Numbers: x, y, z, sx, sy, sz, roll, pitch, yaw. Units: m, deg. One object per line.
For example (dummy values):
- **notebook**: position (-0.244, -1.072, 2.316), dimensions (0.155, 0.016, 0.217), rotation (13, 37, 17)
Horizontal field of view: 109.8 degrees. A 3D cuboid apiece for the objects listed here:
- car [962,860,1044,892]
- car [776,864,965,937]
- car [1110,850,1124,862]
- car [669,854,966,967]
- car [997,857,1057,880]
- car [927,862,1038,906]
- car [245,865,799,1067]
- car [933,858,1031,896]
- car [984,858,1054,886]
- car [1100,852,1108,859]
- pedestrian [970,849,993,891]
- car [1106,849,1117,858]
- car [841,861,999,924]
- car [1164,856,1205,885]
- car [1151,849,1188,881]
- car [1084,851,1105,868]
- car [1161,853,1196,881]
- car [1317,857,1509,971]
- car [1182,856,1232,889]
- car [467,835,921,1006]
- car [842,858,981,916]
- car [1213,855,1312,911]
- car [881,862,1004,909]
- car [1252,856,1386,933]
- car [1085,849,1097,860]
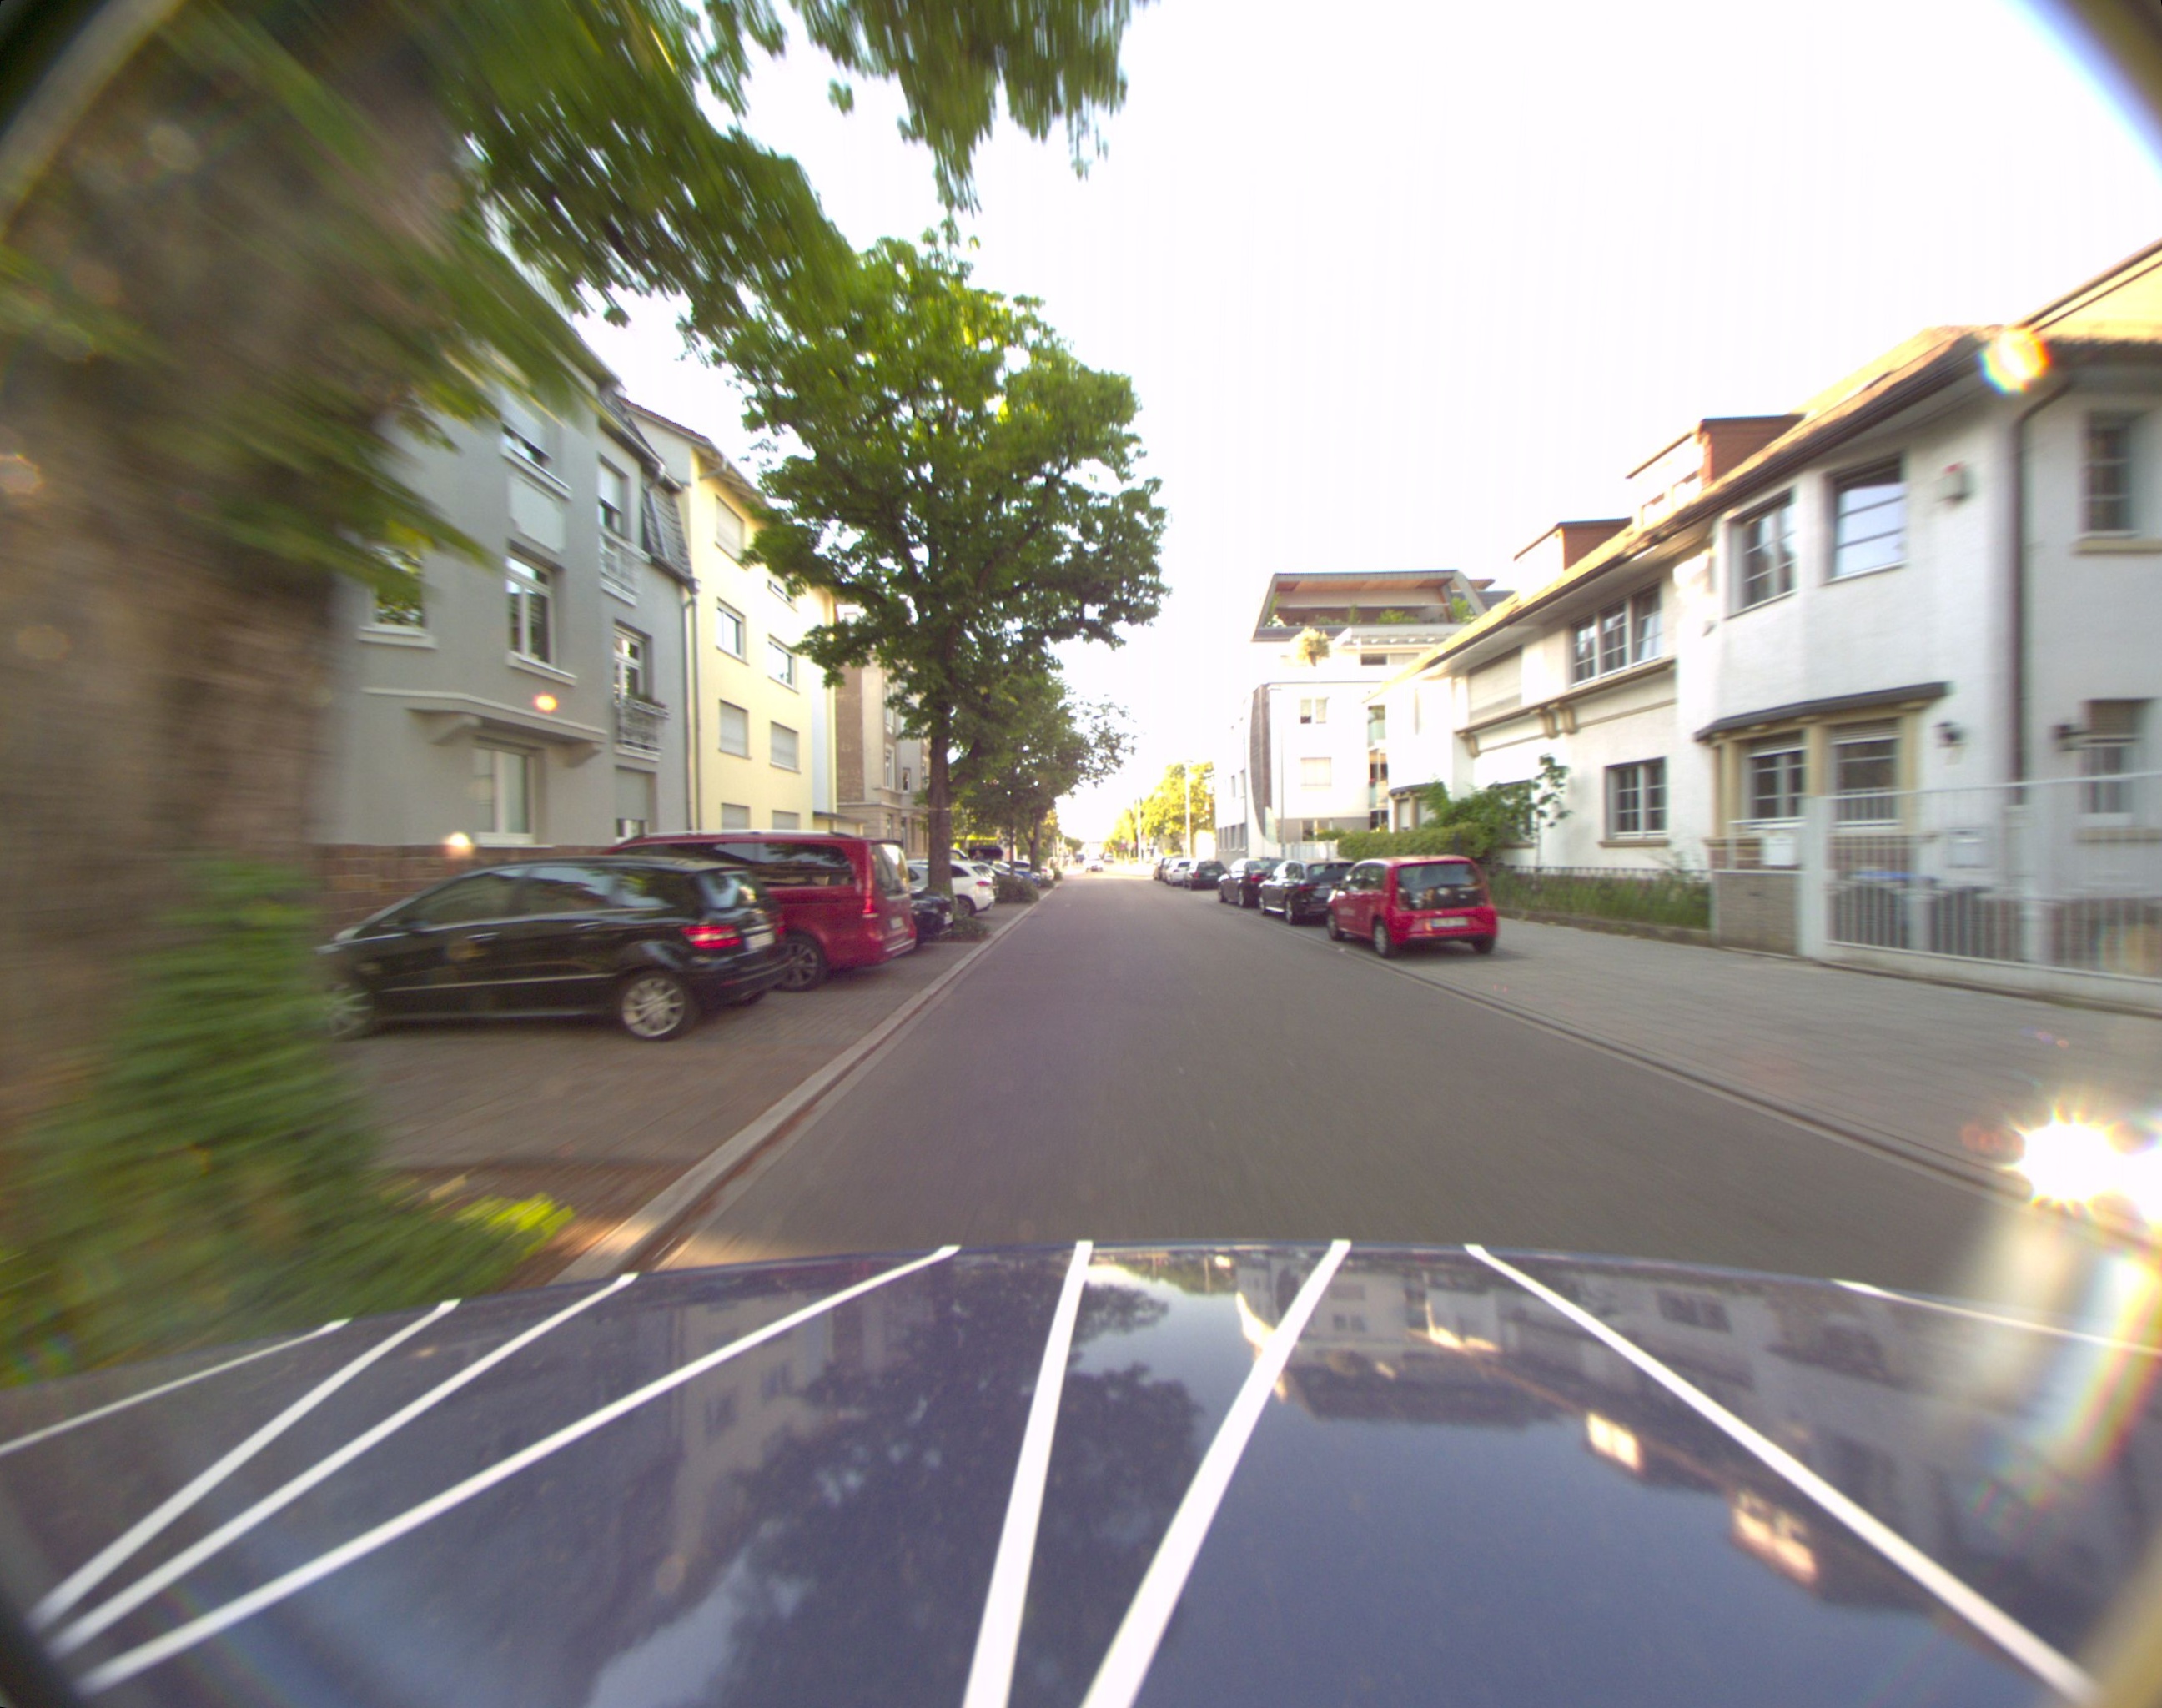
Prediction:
- **car**: position (-3.800, 1.053, 37.520), dimensions (3.825, 1.477, 1.601), rotation (-1, 0, 1)
- **car**: position (-4.550, 0.988, 16.752), dimensions (3.680, 1.453, 1.616), rotation (-1, 0, 1)
- **car**: position (5.493, 0.304, 114.762), dimensions (1.913, 1.679, 4.198), rotation (-3, 0, 1)
- **car**: position (-4.175, 0.874, 12.460), dimensions (4.207, 1.695, 1.792), rotation (-1, 0, 4)
- **car**: position (-3.550, 0.941, 50.443), dimensions (3.825, 1.477, 1.601), rotation (-1, 0, 1)
- **car**: position (-3.449, 1.051, 26.991), dimensions (3.680, 1.434, 1.601), rotation (-1, 0, 1)
- **car**: position (-4.914, 0.938, 7.084), dimensions (3.903, 1.594, 1.687), rotation (-1, 0, 1)
- **car**: position (-4.031, 0.929, 31.335), dimensions (3.825, 1.477, 1.601), rotation (-1, 0, 1)
- **car**: position (-3.510, 1.008, 42.895), dimensions (3.828, 1.477, 1.600), rotation (-1, 0, -6)
- **car**: position (5.893, 0.411, 191.445), dimensions (1.913, 1.679, 4.198), rotation (-3, 0, 1)
- **pedestrian**: position (-4.779, 0.749, 36.598), dimensions (0.999, 2.002, 0.981), rotation (-1, 0, -2)
- **car**: position (5.918, -0.078, 145.949), dimensions (1.913, 1.679, 4.198), rotation (-3, 0, 1)
- **car**: position (-4.064, 0.966, 19.553), dimensions (3.680, 1.488, 1.676), rotation (-1, 0, 1)
- **car**: position (5.481, 0.833, 40.590), dimensions (1.723, 1.386, 3.908), rotation (-3, 0, 2)
- **car**: position (5.845, 0.679, 50.596), dimensions (1.913, 1.937, 4.198), rotation (-3, 0, 1)
- **car**: position (1.360, 0.559, 77.984), dimensions (1.998, 1.690, 4.424), rotation (-2, 0, 0)
- **car**: position (5.817, 0.759, 45.699), dimensions (1.723, 1.489, 3.908), rotation (-3, 0, 2)
- **car**: position (5.136, 0.840, 12.267), dimensions (1.654, 1.474, 3.429), rotation (-3, 0, 2)
- **car**: position (5.778, 0.819, 35.240), dimensions (1.723, 1.386, 3.908), rotation (-3, 0, 2)
- **car**: position (-4.701, 0.778, 9.779), dimensions (4.819, 1.925, 1.950), rotation (-1, 0, 1)
- **car**: position (-4.954, 0.945, 22.526), dimensions (3.680, 1.589, 1.676), rotation (-1, 0, 1)
- **car**: position (5.447, 0.820, 23.420), dimensions (1.743, 1.451, 4.564), rotation (-3, 0, -2)
- **car**: position (-4.457, 1.001, 24.850), dimensions (3.680, 1.434, 1.601), rotation (-1, 0, 1)
- **car**: position (5.343, 0.832, 17.659), dimensions (1.742, 1.451, 4.378), rotation (-3, 0, 1)
- **car**: position (1.649, 0.020, 125.408), dimensions (1.913, 1.679, 4.198), rotation (-3, 0, 1)
